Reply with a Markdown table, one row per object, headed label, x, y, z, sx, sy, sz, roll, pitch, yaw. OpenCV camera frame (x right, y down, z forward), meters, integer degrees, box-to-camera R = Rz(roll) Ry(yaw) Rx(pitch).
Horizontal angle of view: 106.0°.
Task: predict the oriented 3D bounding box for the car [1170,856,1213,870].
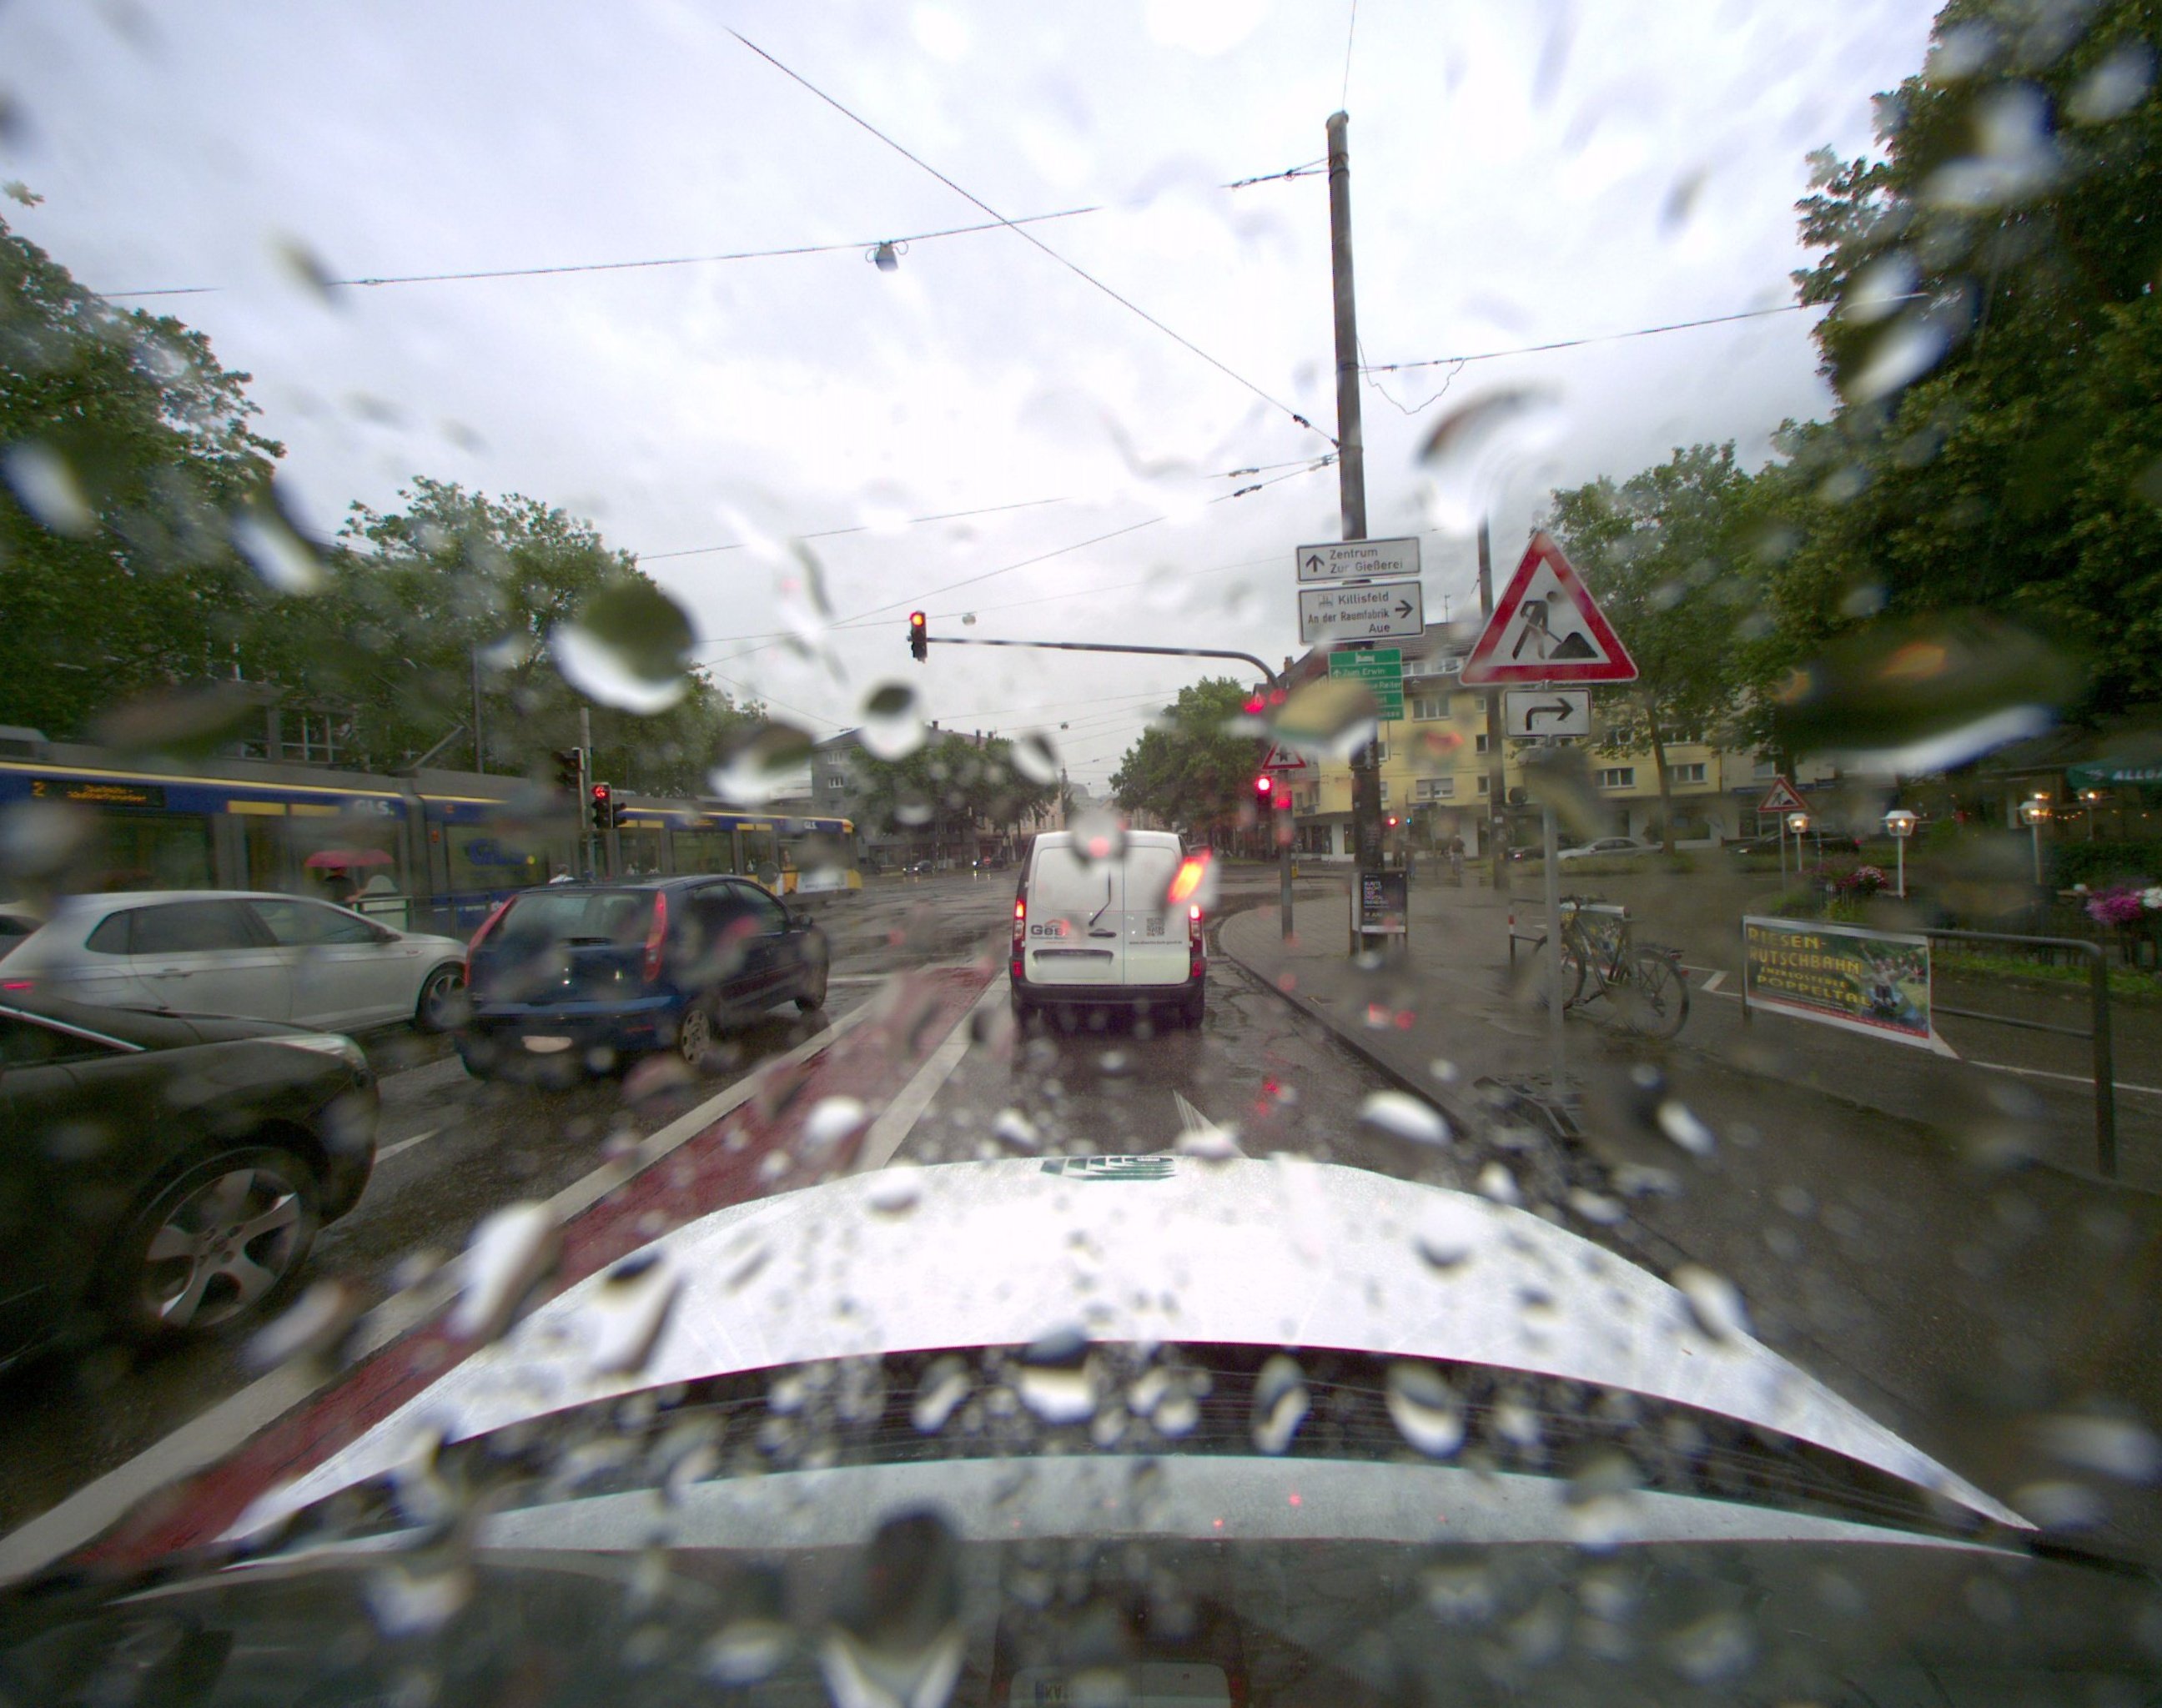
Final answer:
| label | x | y | z | sx | sy | sz | roll | pitch | yaw |
| --- | --- | --- | --- | --- | --- | --- | --- | --- | --- |
| car | 9.534 | 0.736 | 70.484 | 3.437 | 1.130 | 1.468 | -1 | 0 | -6 |

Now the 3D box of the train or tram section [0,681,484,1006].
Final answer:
| label | x | y | z | sx | sy | sz | roll | pitch | yaw |
| --- | --- | --- | --- | --- | --- | --- | --- | --- | --- |
| train or tram section | -13.447 | -0.115 | 8.551 | 3.497 | 3.512 | 13.675 | 0 | 0 | 4 |

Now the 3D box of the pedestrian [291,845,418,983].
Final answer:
| label | x | y | z | sx | sy | sz | roll | pitch | yaw |
| --- | --- | --- | --- | --- | --- | --- | --- | --- | --- |
| pedestrian | -9.796 | 0.773 | 11.025 | 0.763 | 1.746 | 0.899 | -4 | 1 | 1 |

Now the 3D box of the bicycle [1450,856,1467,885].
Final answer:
| label | x | y | z | sx | sy | sz | roll | pitch | yaw |
| --- | --- | --- | --- | --- | --- | --- | --- | --- | --- |
| bicycle | 14.444 | 0.613 | 31.171 | 0.455 | 1.027 | 1.912 | -1 | 1 | 22 |

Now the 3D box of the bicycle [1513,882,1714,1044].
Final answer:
| label | x | y | z | sx | sy | sz | roll | pitch | yaw |
| --- | --- | --- | --- | --- | --- | --- | --- | --- | --- |
| bicycle | 4.482 | 0.845 | 7.046 | 0.512 | 1.107 | 2.018 | 1 | 0 | 3 |

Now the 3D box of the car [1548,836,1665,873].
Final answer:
| label | x | y | z | sx | sy | sz | roll | pitch | yaw |
| --- | --- | --- | --- | --- | --- | --- | --- | --- | --- |
| car | 22.688 | 0.013 | 35.327 | 3.906 | 1.490 | 1.815 | -1 | 1 | 17 |

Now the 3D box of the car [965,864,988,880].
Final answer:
| label | x | y | z | sx | sy | sz | roll | pitch | yaw |
| --- | --- | --- | --- | --- | --- | --- | --- | --- | --- |
| car | -11.058 | 1.871 | 86.328 | 1.777 | 1.552 | 4.002 | -1 | 0 | 2 |

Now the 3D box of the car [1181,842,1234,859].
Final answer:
| label | x | y | z | sx | sy | sz | roll | pitch | yaw |
| --- | --- | --- | --- | --- | --- | --- | --- | --- | --- |
| car | 10.688 | -0.321 | 68.872 | 4.160 | 1.339 | 1.518 | -2 | 1 | -6 |

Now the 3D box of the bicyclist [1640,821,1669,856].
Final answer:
| label | x | y | z | sx | sy | sz | roll | pitch | yaw |
| --- | --- | --- | --- | --- | --- | --- | --- | --- | --- |
| bicyclist | 26.605 | -0.707 | 37.810 | 0.811 | 1.615 | 0.711 | -1 | 0 | 2 |

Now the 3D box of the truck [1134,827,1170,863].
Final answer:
| label | x | y | z | sx | sy | sz | roll | pitch | yaw |
| --- | --- | --- | --- | --- | --- | --- | --- | --- | --- |
| truck | 10.794 | -1.258 | 122.252 | 3.446 | 5.087 | 15.358 | -1 | 0 | 12 |

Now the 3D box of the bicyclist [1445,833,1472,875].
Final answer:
| label | x | y | z | sx | sy | sz | roll | pitch | yaw |
| --- | --- | --- | --- | --- | --- | --- | --- | --- | --- |
| bicyclist | 14.422 | -0.010 | 31.135 | 0.870 | 1.583 | 0.865 | -1 | 0 | 23 |

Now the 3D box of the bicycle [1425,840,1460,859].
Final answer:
| label | x | y | z | sx | sy | sz | roll | pitch | yaw |
| --- | --- | --- | --- | --- | --- | --- | --- | --- | --- |
| bicycle | 24.323 | -0.297 | 54.858 | 2.085 | 1.261 | 0.534 | -1 | 1 | 16 |

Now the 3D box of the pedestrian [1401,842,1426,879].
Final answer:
| label | x | y | z | sx | sy | sz | roll | pitch | yaw |
| --- | --- | --- | --- | --- | --- | --- | --- | --- | --- |
| pedestrian | 13.836 | 0.259 | 33.906 | 0.820 | 1.534 | 0.616 | -1 | -1 | -37 |

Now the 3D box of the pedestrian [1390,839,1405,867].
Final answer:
| label | x | y | z | sx | sy | sz | roll | pitch | yaw |
| --- | --- | --- | --- | --- | --- | --- | --- | --- | --- |
| pedestrian | 16.757 | -0.058 | 43.099 | 0.617 | 1.500 | 0.554 | -1 | 0 | 9 |

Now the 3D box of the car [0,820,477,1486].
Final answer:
| label | x | y | z | sx | sy | sz | roll | pitch | yaw |
| --- | --- | --- | --- | --- | --- | --- | --- | --- | --- |
| car | -3.651 | 0.763 | 1.518 | 1.827 | 1.668 | 4.174 | -1 | 0 | 2 |

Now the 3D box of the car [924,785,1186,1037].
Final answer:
| label | x | y | z | sx | sy | sz | roll | pitch | yaw |
| --- | --- | --- | --- | --- | --- | --- | --- | --- | --- |
| car | -0.134 | 0.485 | 9.145 | 2.092 | 2.012 | 4.965 | -2 | -1 | 2 |

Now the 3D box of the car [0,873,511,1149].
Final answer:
| label | x | y | z | sx | sy | sz | roll | pitch | yaw |
| --- | --- | --- | --- | --- | --- | --- | --- | --- | --- |
| car | -6.767 | 0.949 | 6.536 | 1.623 | 1.494 | 3.783 | -1 | 0 | 2 |

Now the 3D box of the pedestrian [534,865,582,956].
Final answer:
| label | x | y | z | sx | sy | sz | roll | pitch | yaw |
| --- | --- | --- | --- | --- | --- | --- | --- | --- | --- |
| pedestrian | -9.607 | 1.009 | 14.978 | 0.628 | 1.607 | 0.736 | -1 | -1 | -24 |

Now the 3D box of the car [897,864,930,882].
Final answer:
| label | x | y | z | sx | sy | sz | roll | pitch | yaw |
| --- | --- | --- | --- | --- | --- | --- | --- | --- | --- |
| car | -14.772 | 1.657 | 72.084 | 1.986 | 1.454 | 4.002 | -2 | 1 | 1 |

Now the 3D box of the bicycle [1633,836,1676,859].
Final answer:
| label | x | y | z | sx | sy | sz | roll | pitch | yaw |
| --- | --- | --- | --- | --- | --- | --- | --- | --- | --- |
| bicycle | 26.611 | -0.293 | 37.799 | 1.631 | 1.002 | 0.422 | -1 | 0 | 2 |

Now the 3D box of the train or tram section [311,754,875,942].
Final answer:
| label | x | y | z | sx | sy | sz | roll | pitch | yaw |
| --- | --- | --- | --- | --- | --- | --- | --- | --- | --- |
| train or tram section | -11.116 | -0.094 | 22.695 | 3.515 | 3.413 | 15.562 | 0 | 0 | 14 |

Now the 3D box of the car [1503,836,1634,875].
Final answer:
| label | x | y | z | sx | sy | sz | roll | pitch | yaw |
| --- | --- | --- | --- | --- | --- | --- | --- | --- | --- |
| car | 22.851 | 0.110 | 38.373 | 4.902 | 1.643 | 2.007 | -1 | -3 | 14 |

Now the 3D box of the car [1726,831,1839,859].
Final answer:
| label | x | y | z | sx | sy | sz | roll | pitch | yaw |
| --- | --- | --- | --- | --- | --- | --- | --- | --- | --- |
| car | 29.274 | -0.376 | 34.034 | 3.511 | 1.082 | 1.248 | -1 | 0 | 4 |

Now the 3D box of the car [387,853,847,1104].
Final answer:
| label | x | y | z | sx | sy | sz | roll | pitch | yaw |
| --- | --- | --- | --- | --- | --- | --- | --- | --- | --- |
| car | -3.519 | 0.803 | 7.120 | 1.720 | 1.578 | 3.822 | -1 | 0 | 2 |

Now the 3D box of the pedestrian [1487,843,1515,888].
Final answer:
| label | x | y | z | sx | sy | sz | roll | pitch | yaw |
| --- | --- | --- | --- | --- | --- | --- | --- | --- | --- |
| pedestrian | 15.987 | 0.425 | 31.037 | 0.896 | 1.669 | 1.026 | -1 | 0 | 25 |
